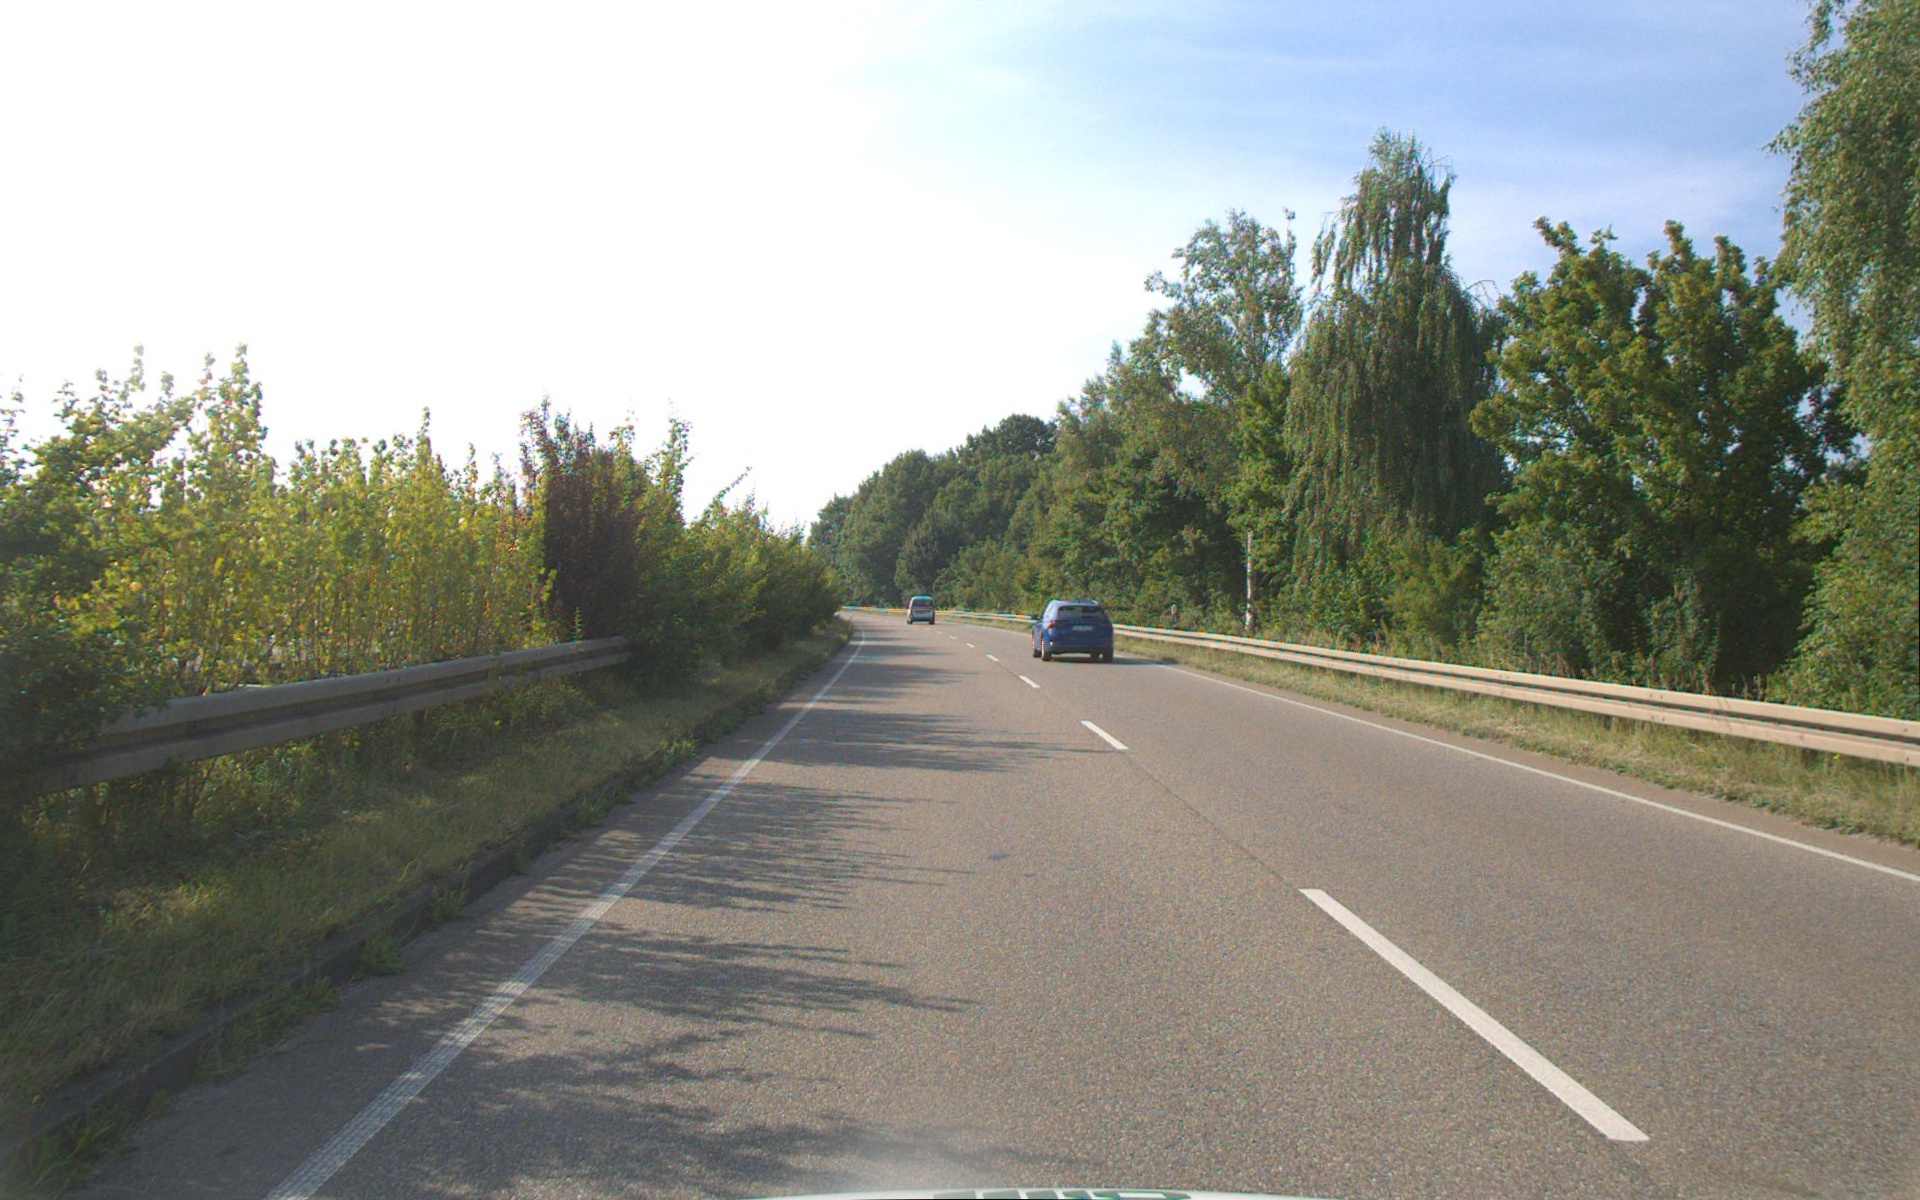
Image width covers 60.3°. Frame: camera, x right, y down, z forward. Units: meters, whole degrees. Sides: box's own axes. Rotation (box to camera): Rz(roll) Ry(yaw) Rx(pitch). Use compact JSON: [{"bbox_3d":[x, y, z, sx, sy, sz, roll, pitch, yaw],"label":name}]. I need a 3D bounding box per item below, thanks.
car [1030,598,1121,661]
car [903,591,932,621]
[{"bbox_3d":[2.815,0.698,41.156,1.744,1.477,3.997,1,0,-3],"label":"car"},{"bbox_3d":[-2.859,0.358,110.227,1.731,1.914,3.996,1,1,-5],"label":"car"}]
